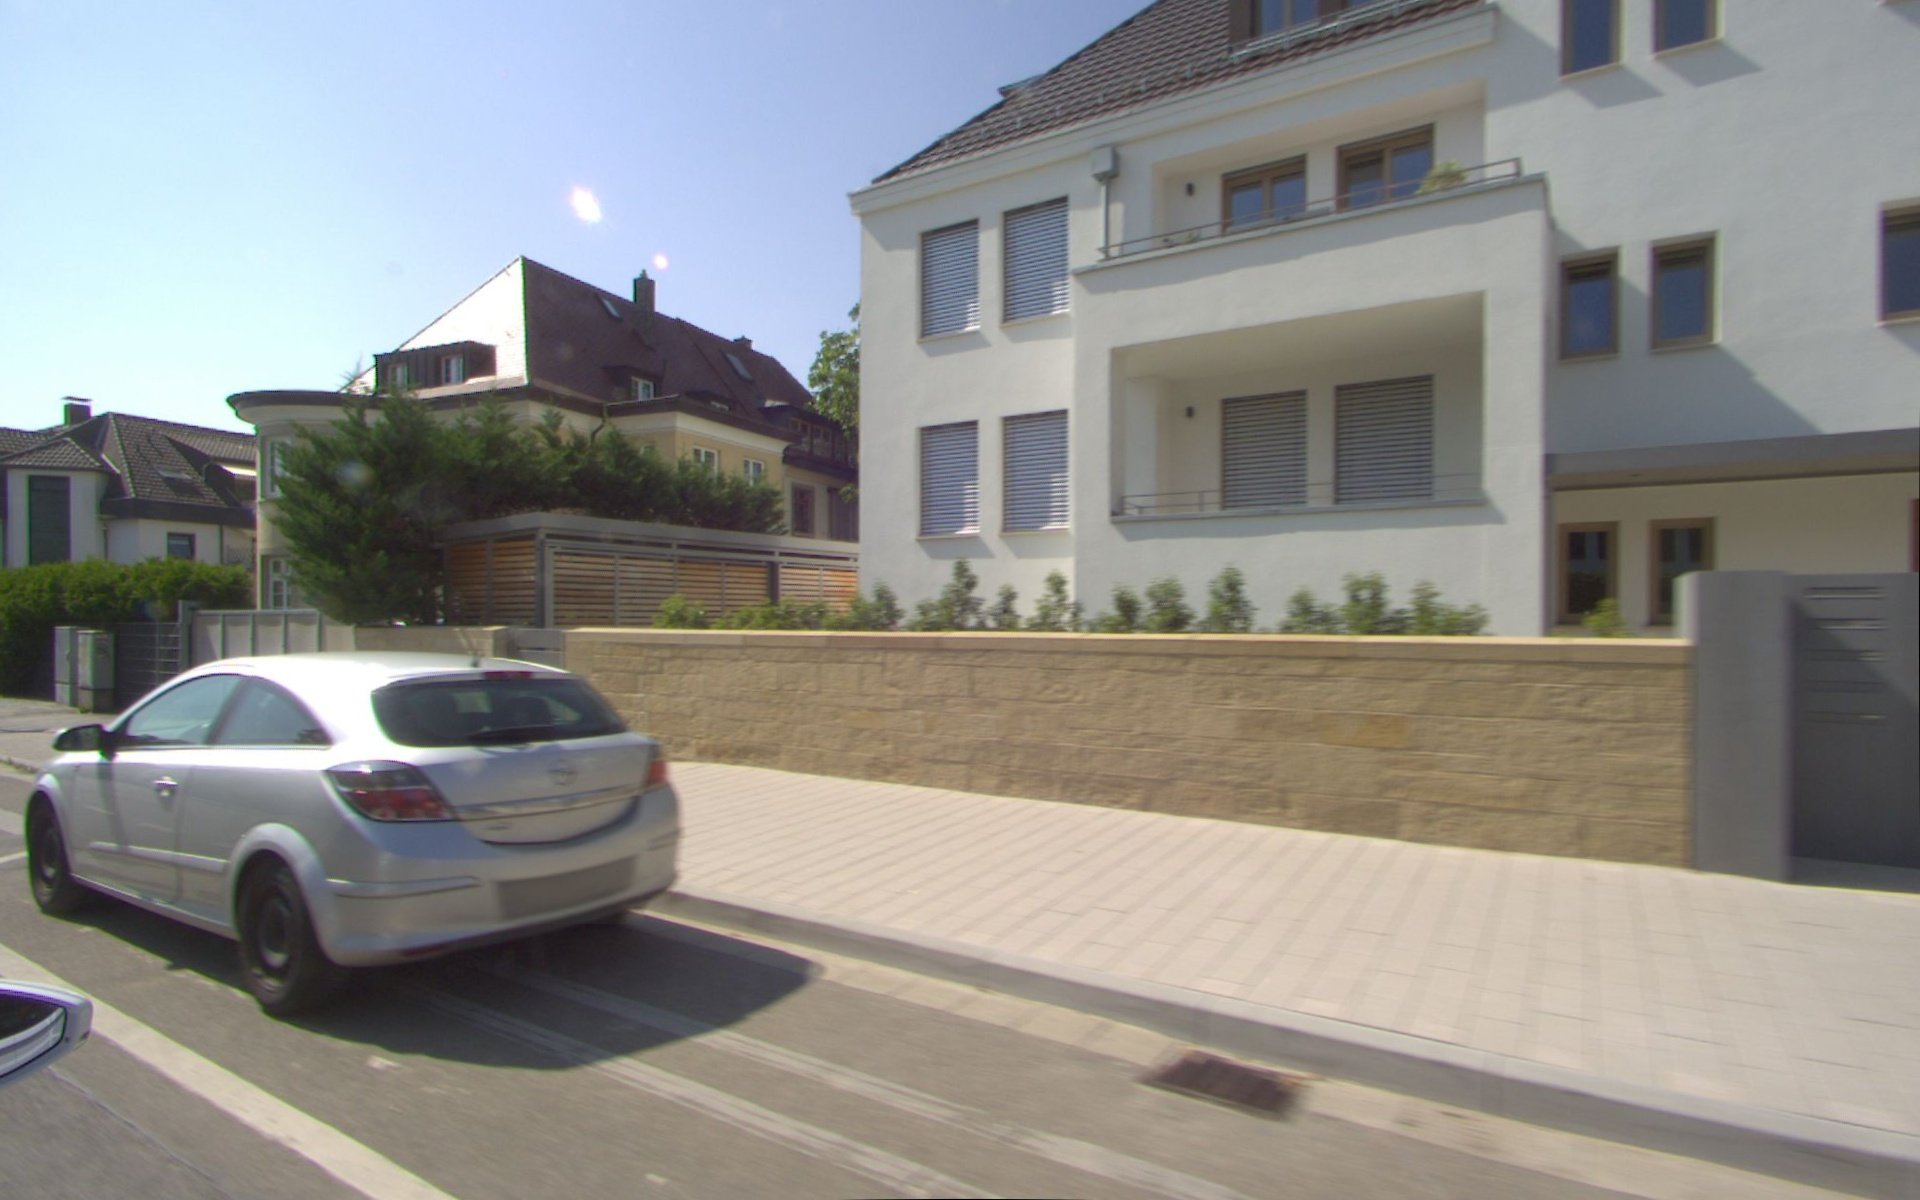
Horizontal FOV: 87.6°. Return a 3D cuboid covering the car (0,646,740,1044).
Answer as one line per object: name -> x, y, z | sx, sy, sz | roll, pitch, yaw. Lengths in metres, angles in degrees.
car -> -3.236, 0.943, 5.256 | 4.019, 1.345, 1.734 | -2, -4, 33
